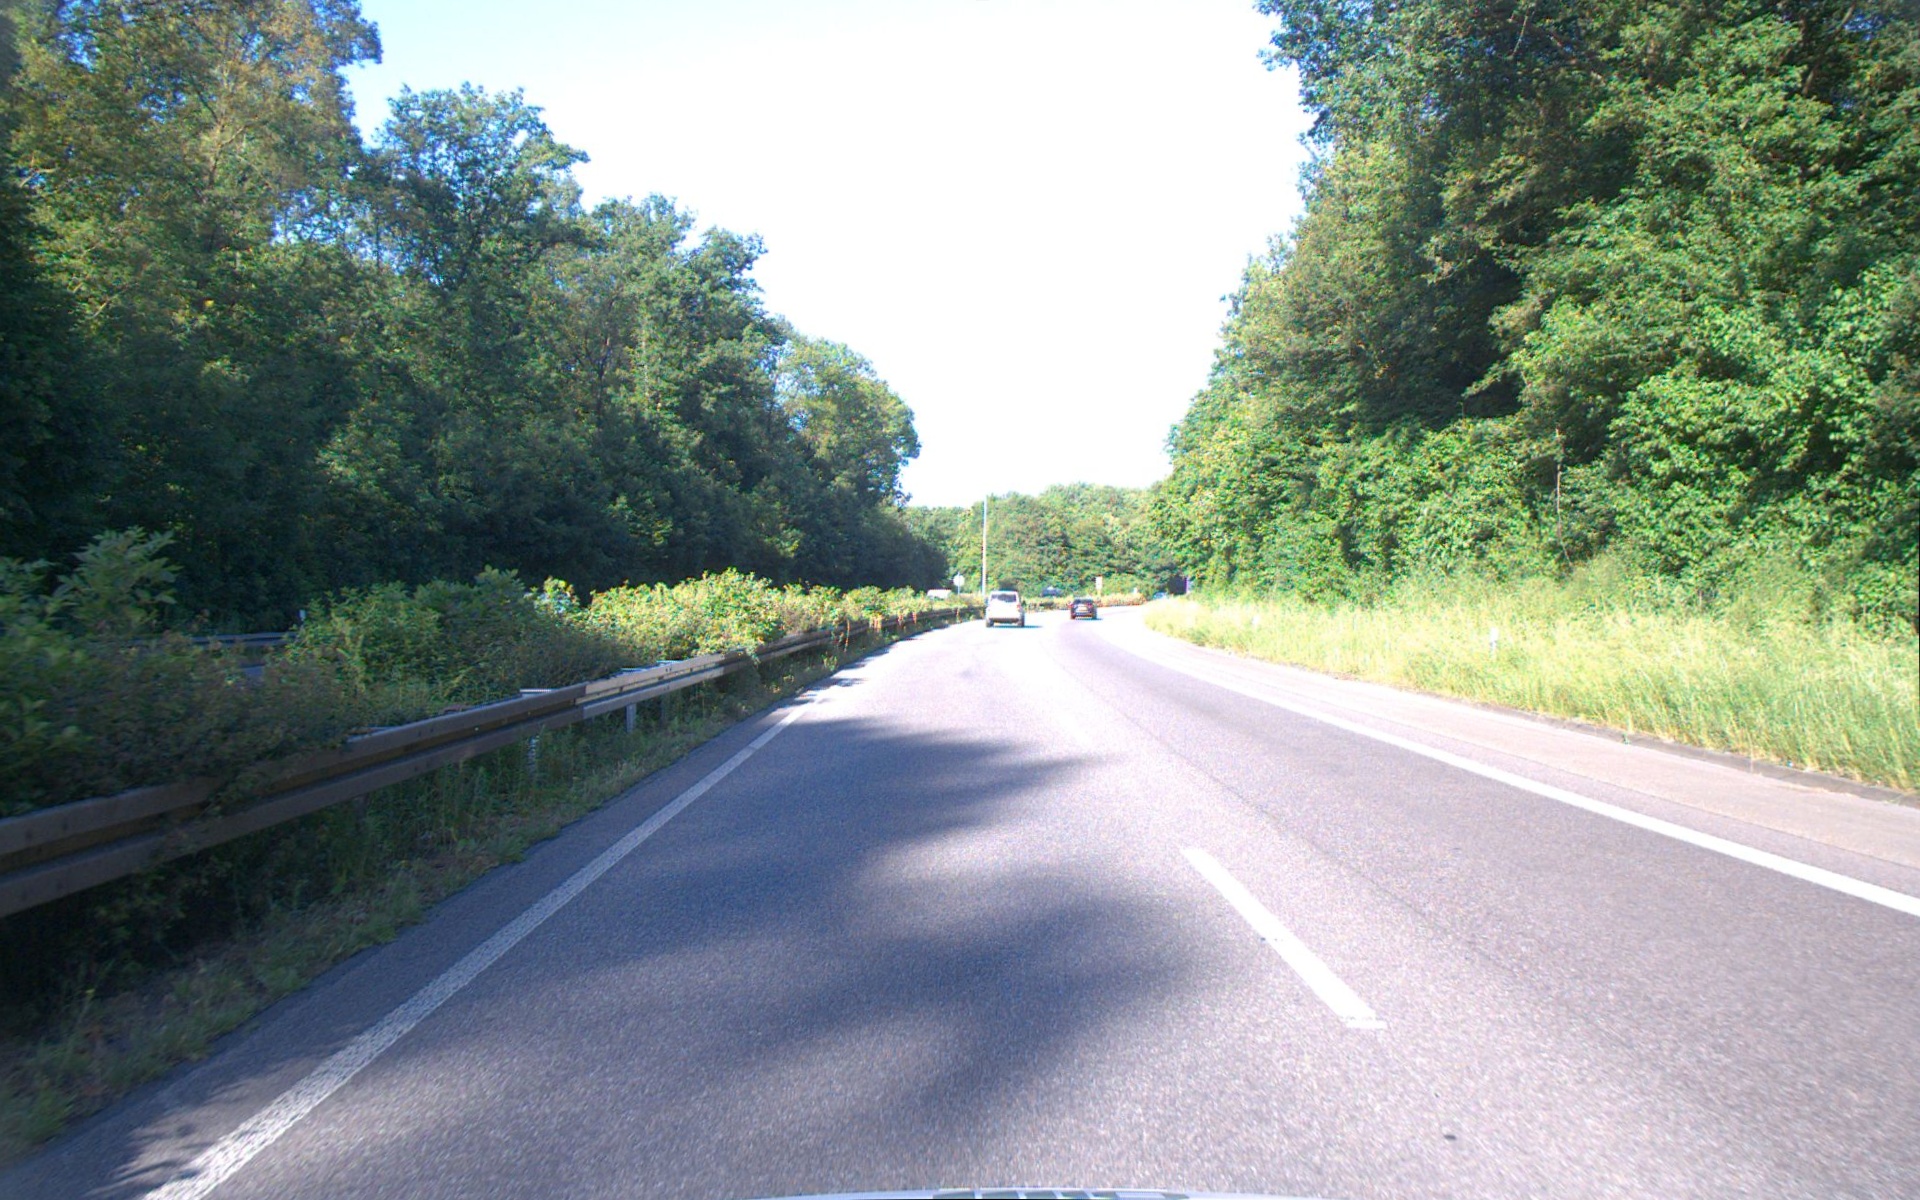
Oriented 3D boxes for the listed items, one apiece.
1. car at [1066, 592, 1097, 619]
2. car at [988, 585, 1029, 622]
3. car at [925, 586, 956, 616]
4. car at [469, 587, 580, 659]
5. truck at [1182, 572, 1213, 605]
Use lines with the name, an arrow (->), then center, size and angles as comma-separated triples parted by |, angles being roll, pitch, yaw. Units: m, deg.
car -> 8.554, 0.382, 116.144 | 1.910, 1.813, 4.591 | 1, 0, 8
car -> 2.418, 0.187, 83.656 | 1.911, 1.813, 4.587 | 1, 0, 0
car -> -1.489, 0.083, 128.790 | 1.874, 2.292, 5.787 | 1, 0, 4
car -> -12.125, 0.629, 46.370 | 1.953, 1.893, 4.708 | 1, 0, -2
truck -> 32.782, -1.578, 227.850 | 3.654, 4.419, 9.312 | 1, 0, 11
